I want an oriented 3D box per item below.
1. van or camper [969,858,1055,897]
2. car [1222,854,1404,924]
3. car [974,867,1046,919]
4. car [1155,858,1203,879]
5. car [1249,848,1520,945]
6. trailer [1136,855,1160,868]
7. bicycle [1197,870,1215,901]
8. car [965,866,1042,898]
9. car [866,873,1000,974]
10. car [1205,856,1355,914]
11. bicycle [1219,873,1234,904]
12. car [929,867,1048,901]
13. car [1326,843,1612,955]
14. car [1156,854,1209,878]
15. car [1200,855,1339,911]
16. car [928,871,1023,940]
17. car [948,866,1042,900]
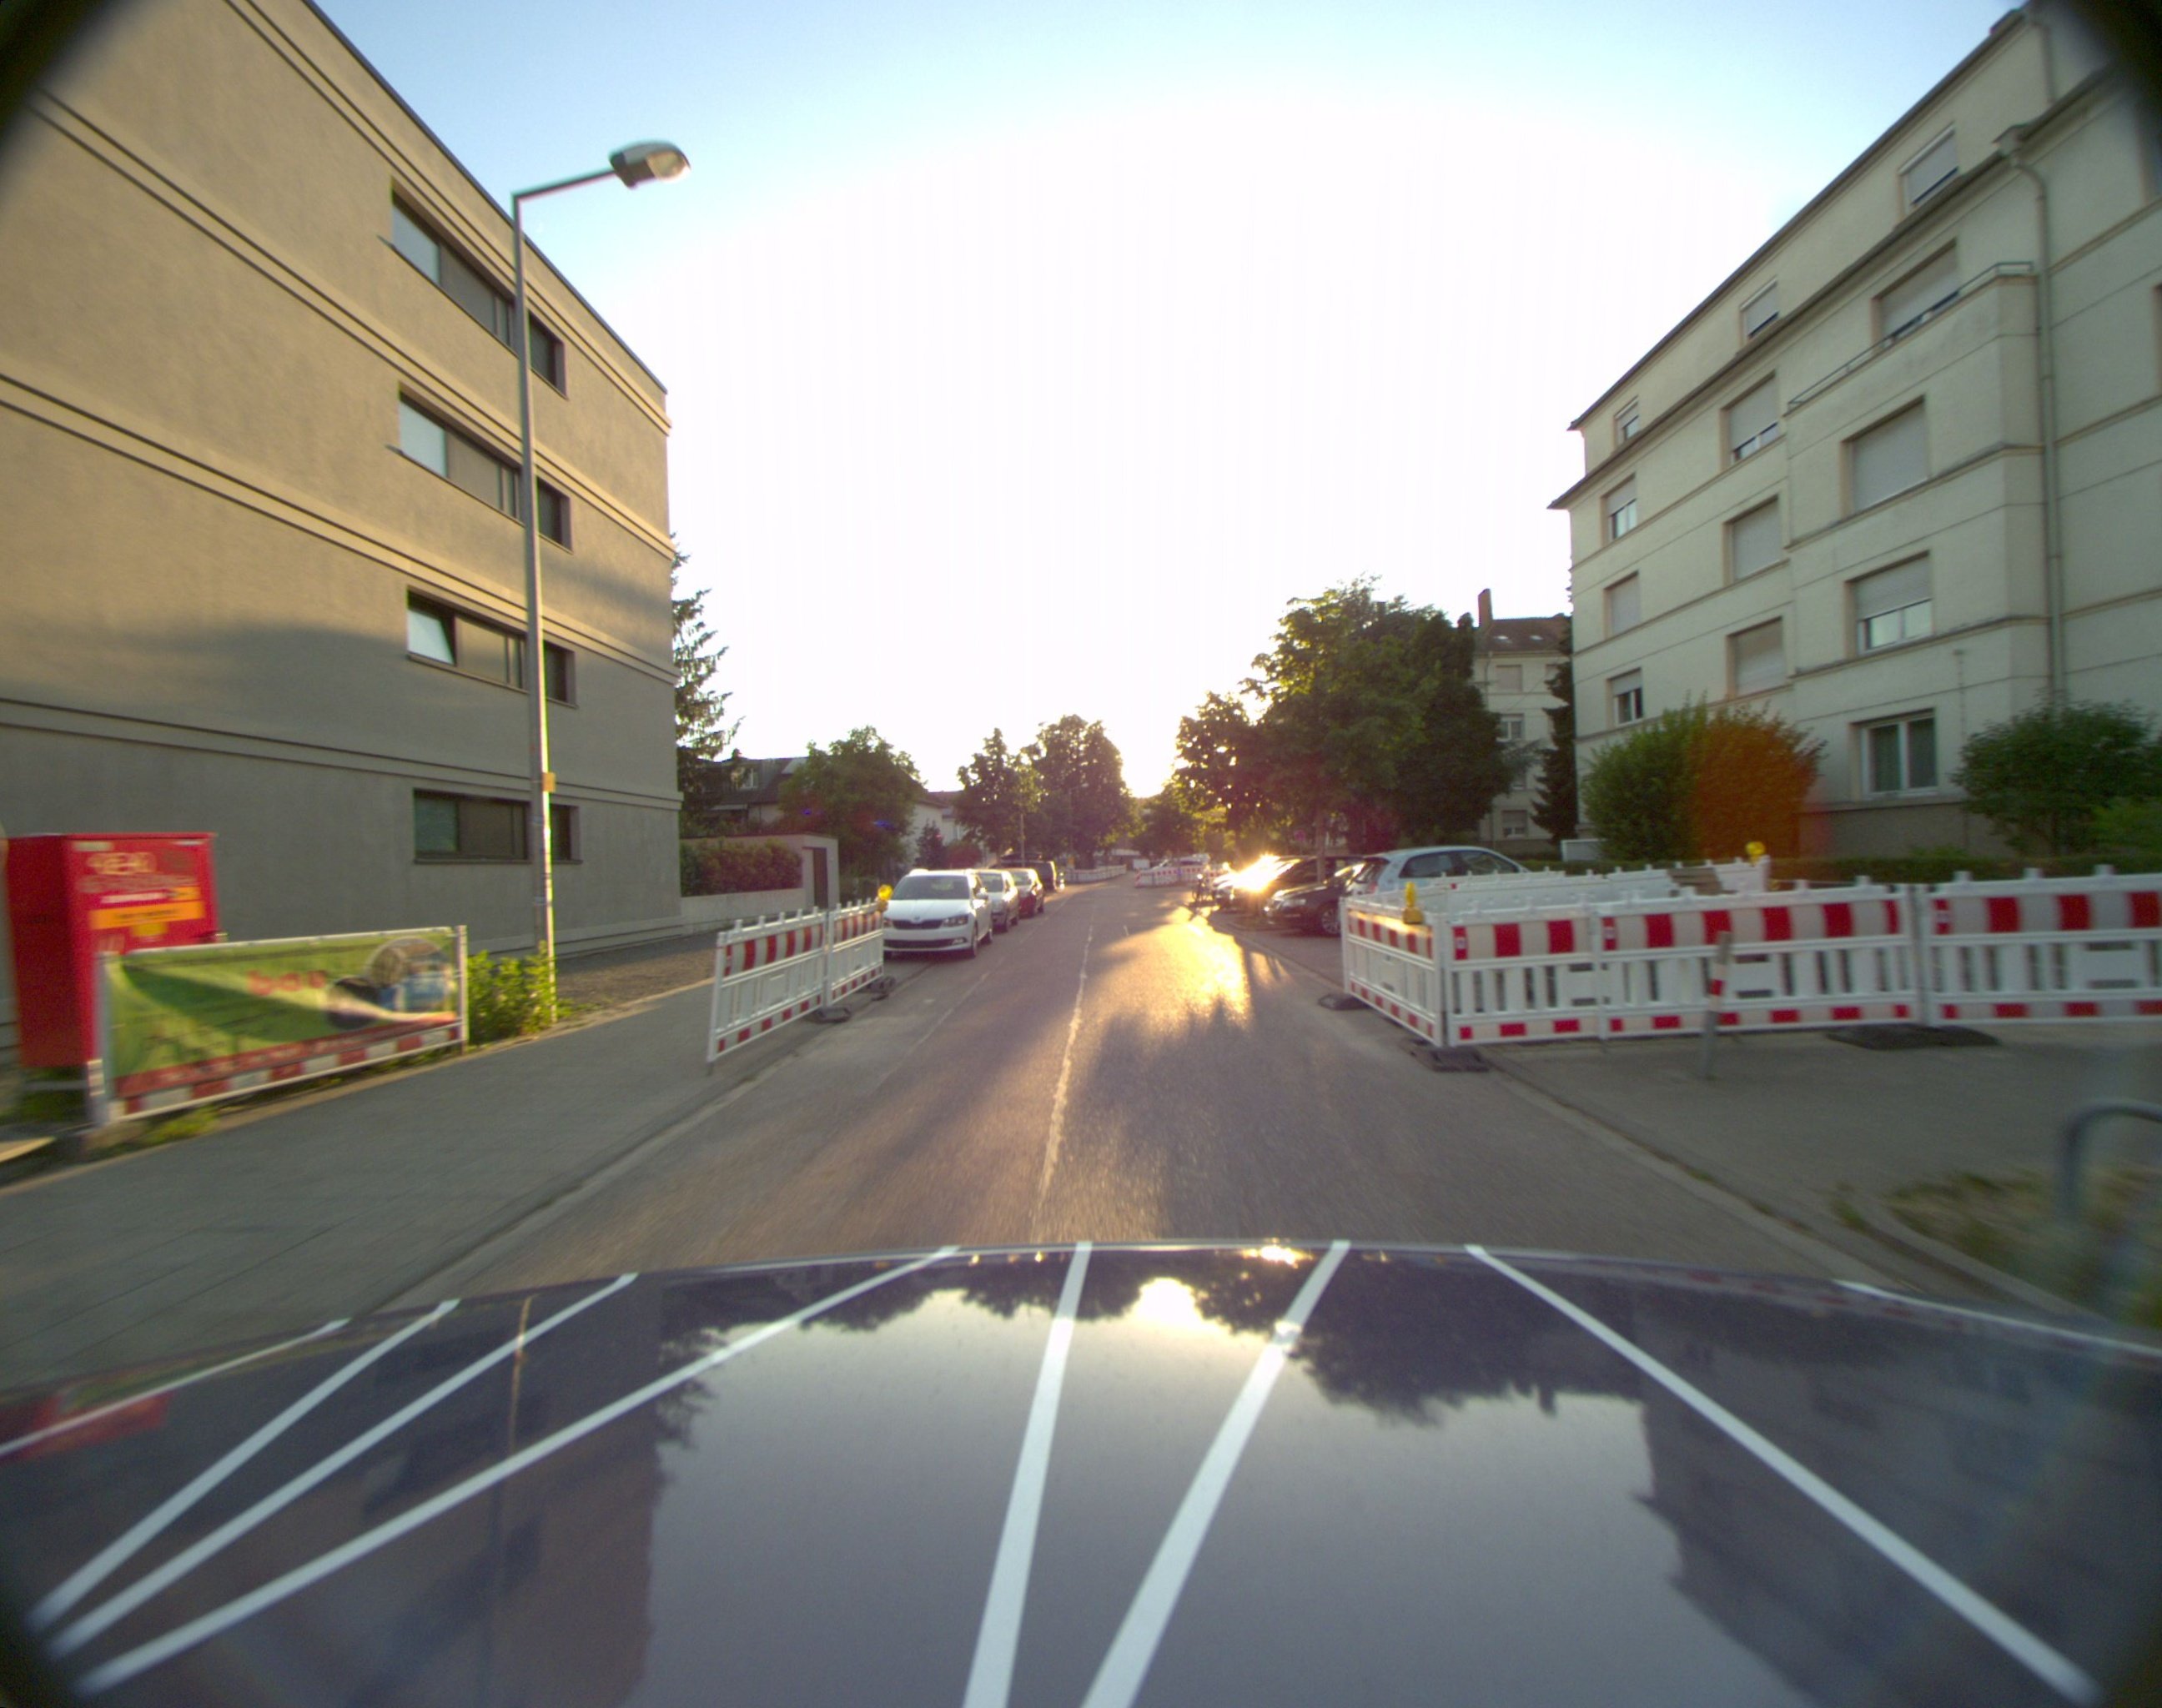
[{"bbox_3d":[-3.816,1.300,42.715,4.659,1.942,2.094,-2,0,-1],"label":"van or camper"},{"bbox_3d":[5.763,0.858,19.252,4.041,1.475,1.729,-3,-1,4],"label":"car"},{"bbox_3d":[-2.183,1.183,24.186,1.744,1.461,3.760,-2,-1,2],"label":"car"},{"bbox_3d":[8.722,1.268,67.541,4.129,1.673,2.001,-2,-1,6],"label":"car"},{"bbox_3d":[5.756,0.773,14.668,4.521,1.475,1.727,-3,-1,-7],"label":"car"},{"bbox_3d":[11.682,1.332,132.582,3.682,2.056,2.002,-3,-1,15],"label":"trailer"},{"bbox_3d":[4.722,1.170,28.756,0.448,1.089,1.629,-2,0,1],"label":"bicycle"},{"bbox_3d":[-4.087,1.462,40.433,3.841,1.535,1.629,-2,-1,1],"label":"car"},{"bbox_3d":[-2.509,1.126,13.753,1.618,1.461,3.997,-2,-1,0],"label":"car"},{"bbox_3d":[5.637,0.868,21.823,3.851,1.376,1.607,-3,-1,2],"label":"car"},{"bbox_3d":[5.540,1.296,28.952,0.280,1.151,1.527,-2,-1,1],"label":"bicycle"},{"bbox_3d":[-3.940,1.296,32.877,4.829,1.389,1.771,-1,-1,2],"label":"car"},{"bbox_3d":[6.155,0.694,12.372,3.709,1.475,1.728,-3,-1,0],"label":"car"},{"bbox_3d":[9.324,1.128,70.054,4.784,2.057,2.001,-2,0,6],"label":"car"},{"bbox_3d":[5.976,0.922,24.443,3.996,1.533,1.729,-3,-1,4],"label":"car"},{"bbox_3d":[-2.526,1.194,19.014,1.802,1.461,3.844,-2,-1,0],"label":"car"},{"bbox_3d":[-3.981,1.354,35.533,4.064,1.492,1.771,-1,-1,5],"label":"car"}]
